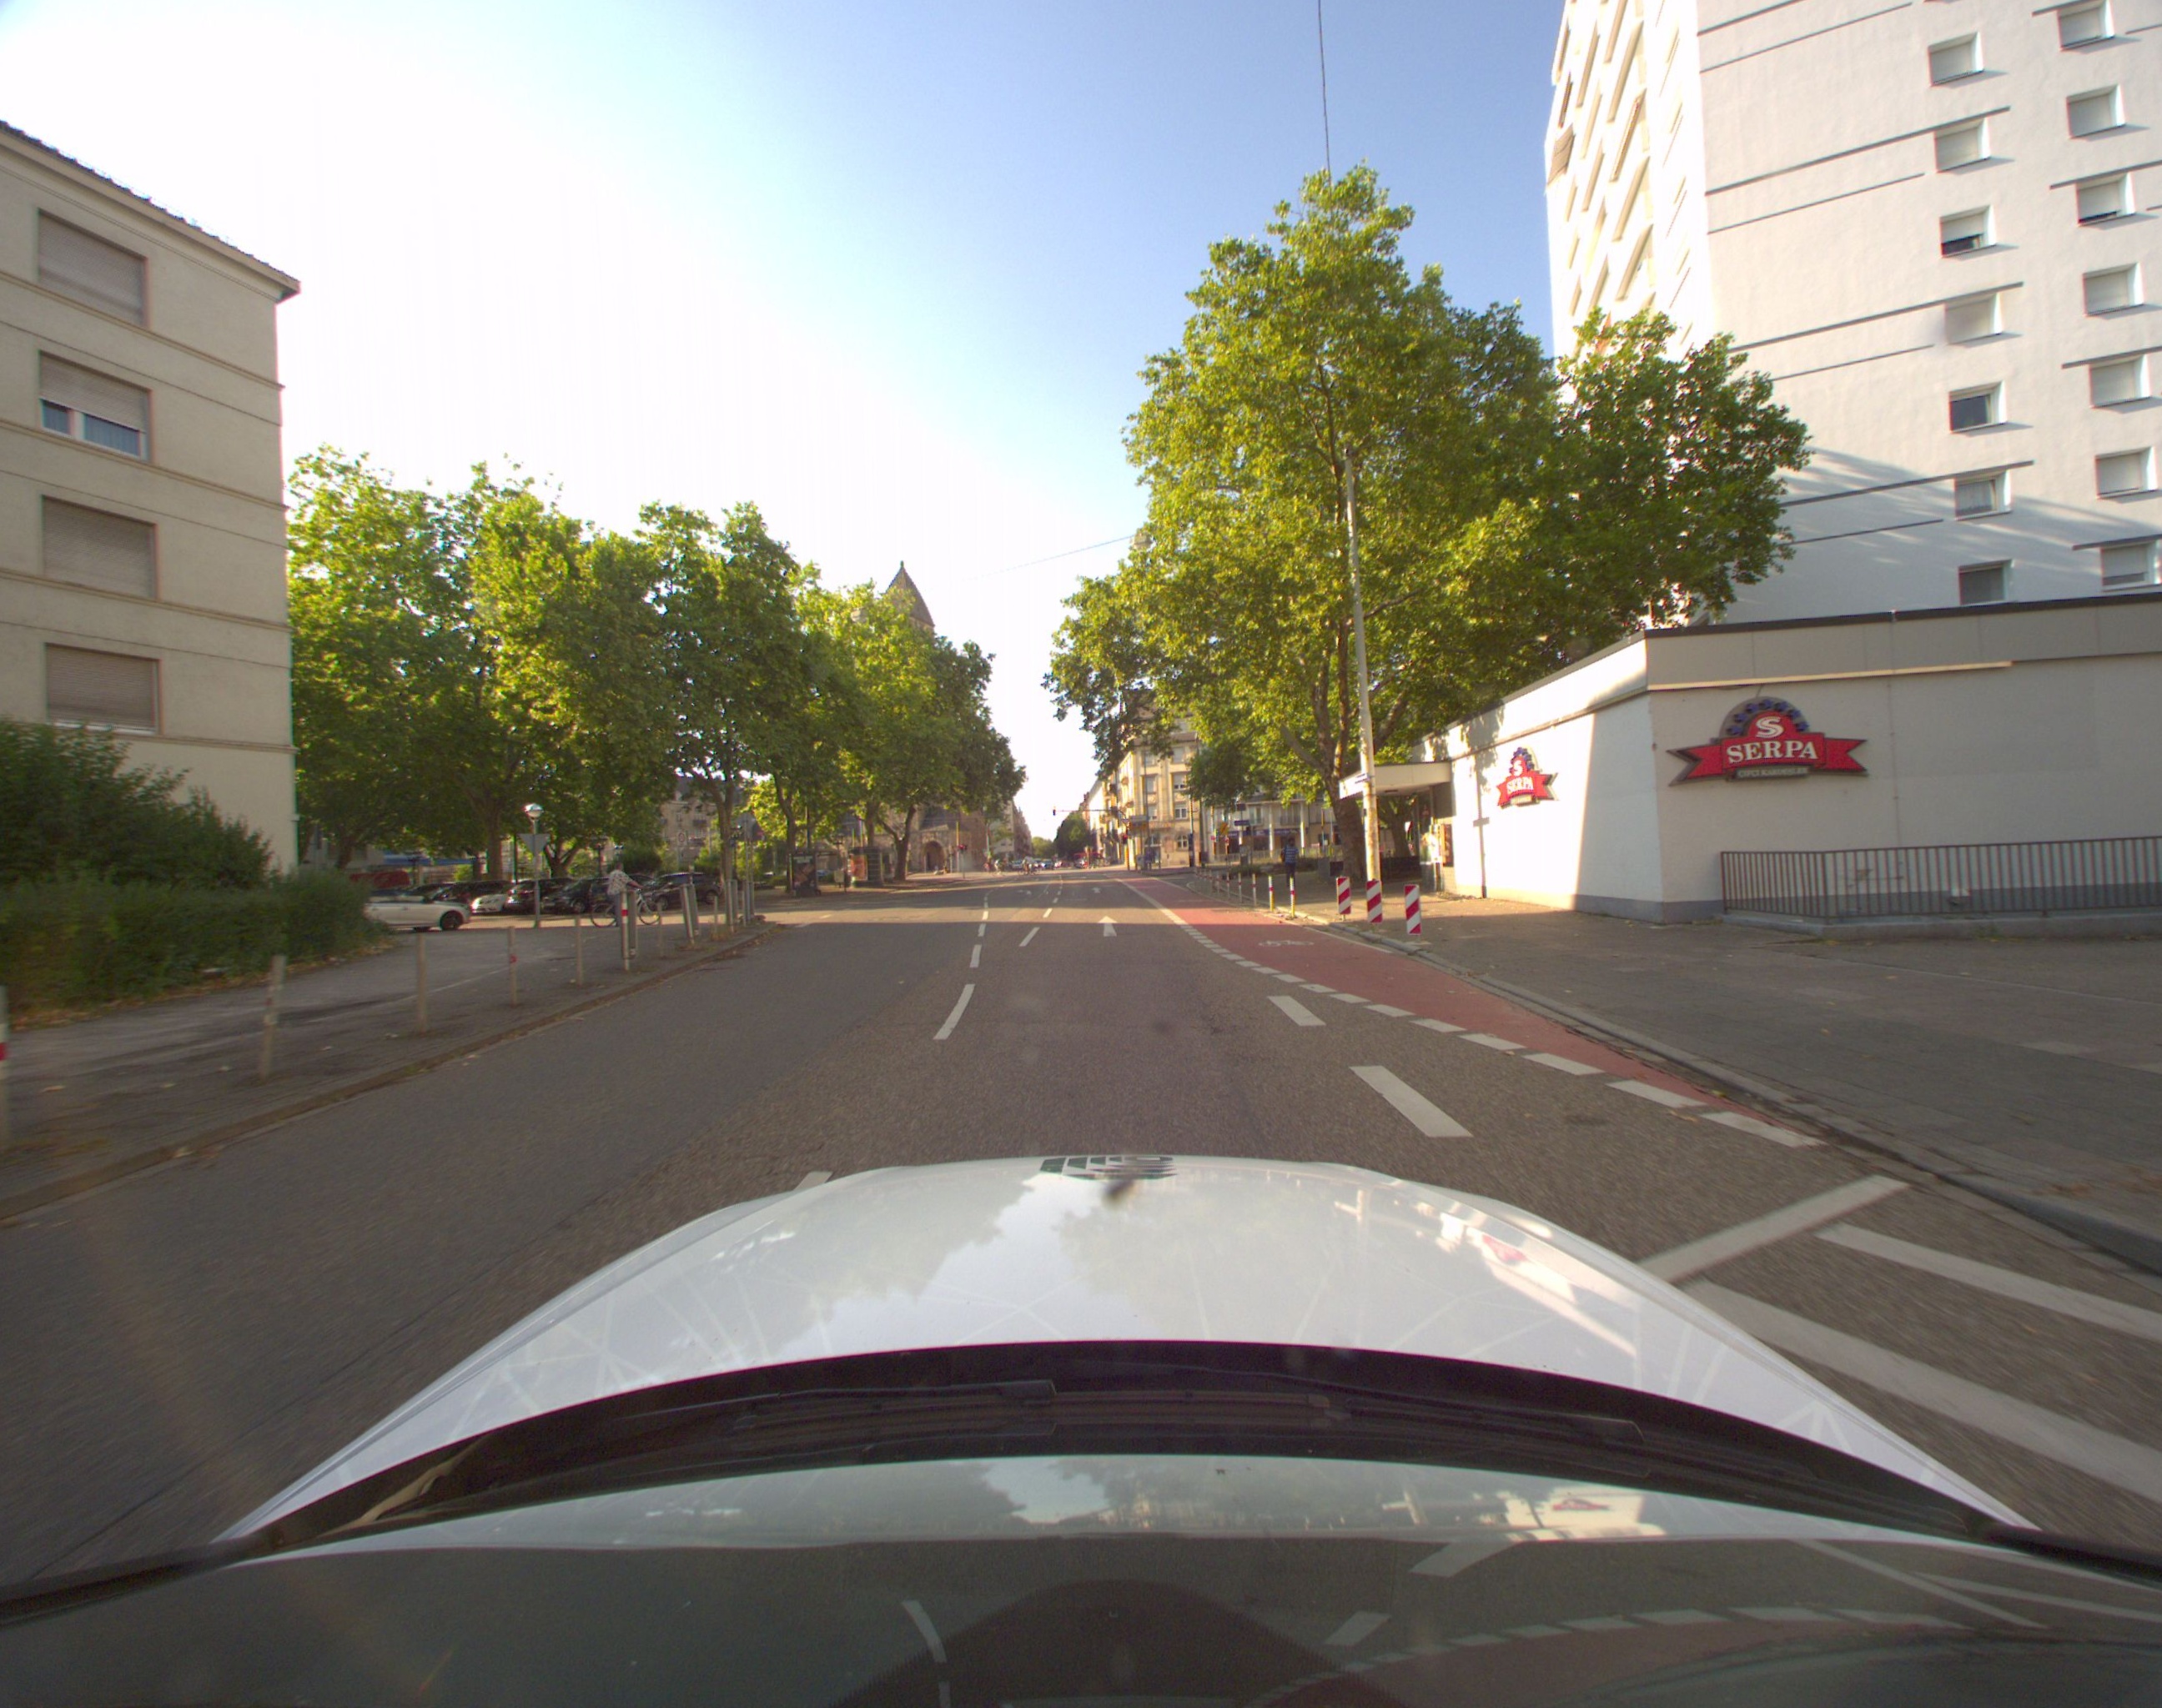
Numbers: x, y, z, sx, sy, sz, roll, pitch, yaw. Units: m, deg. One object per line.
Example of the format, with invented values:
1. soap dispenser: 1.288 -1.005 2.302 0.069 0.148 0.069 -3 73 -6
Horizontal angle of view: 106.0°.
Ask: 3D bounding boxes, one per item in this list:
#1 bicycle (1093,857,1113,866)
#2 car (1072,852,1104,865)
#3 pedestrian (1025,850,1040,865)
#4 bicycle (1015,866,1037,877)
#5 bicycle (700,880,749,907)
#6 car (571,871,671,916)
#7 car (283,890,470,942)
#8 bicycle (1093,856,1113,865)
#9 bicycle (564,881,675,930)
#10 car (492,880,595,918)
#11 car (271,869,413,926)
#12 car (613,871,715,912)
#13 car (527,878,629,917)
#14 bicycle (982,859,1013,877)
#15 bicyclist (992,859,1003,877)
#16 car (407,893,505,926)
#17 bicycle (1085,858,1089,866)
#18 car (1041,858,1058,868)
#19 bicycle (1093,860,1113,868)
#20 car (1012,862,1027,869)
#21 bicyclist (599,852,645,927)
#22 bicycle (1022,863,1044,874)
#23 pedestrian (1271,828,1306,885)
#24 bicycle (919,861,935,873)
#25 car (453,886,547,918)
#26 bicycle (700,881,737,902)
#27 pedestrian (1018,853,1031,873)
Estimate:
1. bicycle: 3.056 1.057 115.298 2.798 1.203 0.516 0 -1 -5
2. car: 1.181 0.789 133.945 5.026 2.014 2.142 0 -2 -38
3. pedestrian: -4.344 0.316 72.543 1.039 1.278 0.796 -1 -1 21
4. bicycle: -4.812 1.544 71.252 1.769 0.982 0.660 -1 -1 19
5. bicycle: -16.287 1.772 37.279 0.715 1.145 3.293 -1 -1 2
6. car: -20.541 1.706 36.567 1.864 1.617 4.007 -2 2 6
7. car: -21.672 1.867 25.261 1.635 1.336 4.057 -4 -2 23
8. bicycle: 3.074 0.893 116.034 2.798 1.203 0.509 -1 2 -5
9. bicycle: -12.805 1.394 22.677 0.998 1.264 2.499 -2 -1 36
10. car: -24.833 2.036 37.815 1.864 1.618 4.006 -1 -1 6
11. car: -40.605 2.309 44.944 1.635 2.910 5.593 -4 -2 22
12. car: -17.831 1.582 35.003 1.735 1.517 3.668 -3 0 20
13. car: -22.617 1.930 36.813 1.864 1.618 4.006 -1 -1 6
14. bicycle: -8.071 1.326 78.400 2.824 1.656 0.833 -1 -1 9
15. bicyclist: -8.052 1.340 78.437 0.797 1.656 0.937 -1 -1 10
16. car: -29.475 2.592 38.552 1.643 1.336 3.699 -1 -1 3
17. bicycle: 0.894 1.129 116.832 0.506 1.203 2.091 -1 -1 0
18. car: -4.725 1.356 123.022 1.575 1.462 3.196 -1 -1 15
19. bicycle: 3.042 1.408 113.686 2.798 1.203 0.509 0 -1 -5
20. car: -11.257 2.110 149.048 1.582 1.144 3.398 -1 -1 17
21. bicyclist: -12.789 0.972 22.689 0.964 2.014 0.802 -2 -2 36
22. bicycle: -4.232 1.326 72.516 1.766 0.895 0.754 -2 0 21
23. pedestrian: 7.662 0.106 30.142 0.824 2.013 1.153 -6 -1 1
24. bicycle: -21.895 1.881 115.988 1.280 1.750 4.003 -1 -1 3
25. car: -27.200 2.211 38.282 1.643 1.336 3.699 -1 -1 3
26. bicycle: -18.125 1.847 40.766 0.546 0.992 2.222 -1 -1 9
27. pedestrian: -4.944 0.805 71.297 0.983 1.708 0.631 -1 -1 20
